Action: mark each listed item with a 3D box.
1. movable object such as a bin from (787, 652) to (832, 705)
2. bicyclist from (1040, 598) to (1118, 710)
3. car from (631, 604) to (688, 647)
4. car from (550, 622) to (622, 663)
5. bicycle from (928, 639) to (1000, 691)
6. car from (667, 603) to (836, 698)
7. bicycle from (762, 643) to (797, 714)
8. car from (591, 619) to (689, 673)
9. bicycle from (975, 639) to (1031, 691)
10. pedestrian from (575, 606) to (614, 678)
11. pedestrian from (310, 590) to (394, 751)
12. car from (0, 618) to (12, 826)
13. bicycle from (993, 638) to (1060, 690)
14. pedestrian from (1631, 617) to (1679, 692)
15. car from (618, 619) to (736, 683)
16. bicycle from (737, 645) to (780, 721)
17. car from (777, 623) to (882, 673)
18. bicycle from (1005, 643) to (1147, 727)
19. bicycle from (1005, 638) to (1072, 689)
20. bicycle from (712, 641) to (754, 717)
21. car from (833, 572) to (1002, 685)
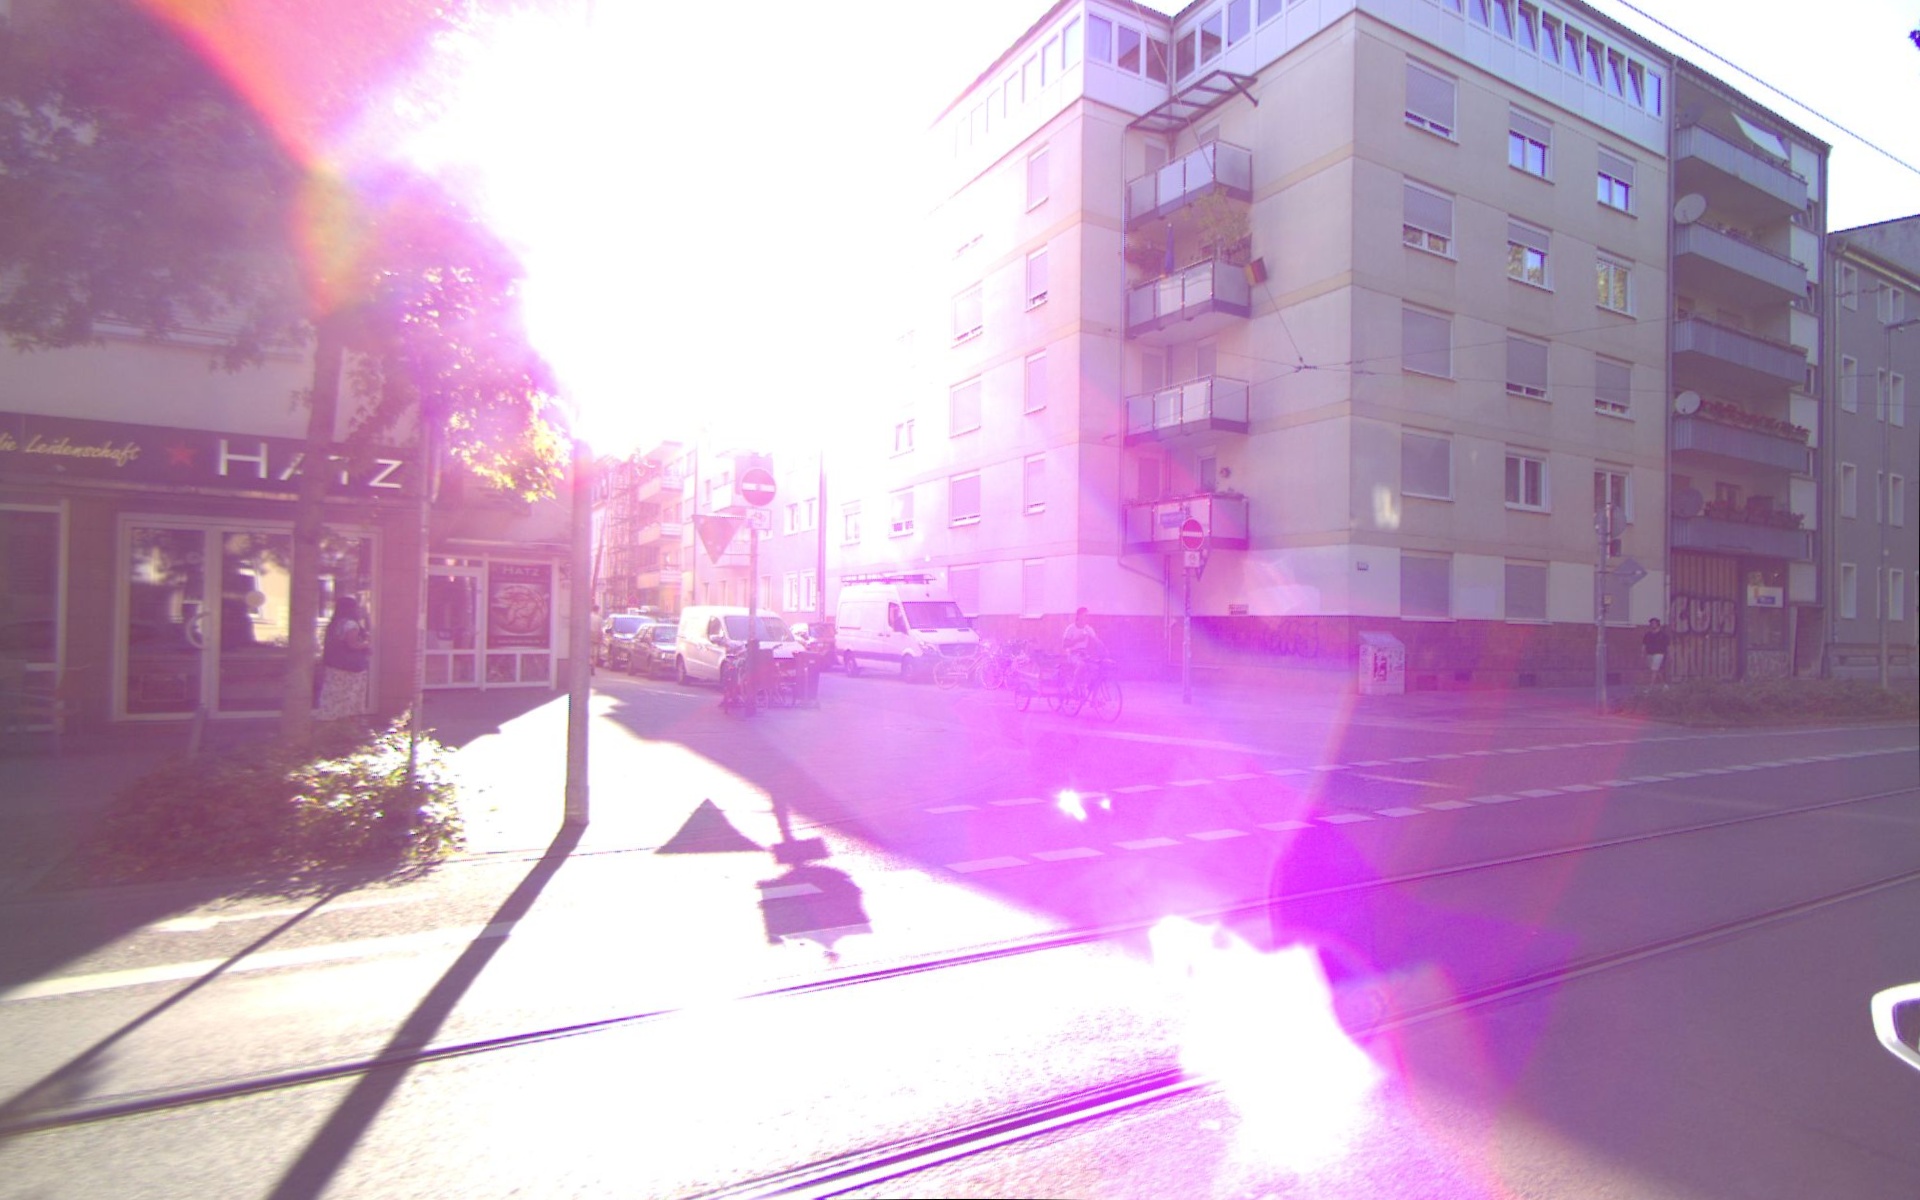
[{"bbox_3d":[-2.923,1.509,19.477,0.636,0.986,0.588,2,-2,-40],"label":"movable object such as a bin"},{"bbox_3d":[1.906,0.855,16.120,0.896,1.726,0.868,1,-1,-27],"label":"bicyclist"},{"bbox_3d":[-16.047,1.355,53.485,2.006,2.163,3.927,1,-2,-30],"label":"car"},{"bbox_3d":[-14.684,1.633,39.307,2.005,1.519,3.928,1,-2,-30],"label":"car"},{"bbox_3d":[0.099,1.513,23.323,1.571,1.171,0.585,-1,-3,16],"label":"bicycle"},{"bbox_3d":[-4.731,1.059,22.220,2.017,1.846,4.846,2,-2,-33],"label":"car"},{"bbox_3d":[-3.156,1.352,17.640,0.562,1.171,1.948,0,-3,-10],"label":"bicycle"},{"bbox_3d":[-9.778,1.369,30.541,2.006,1.519,3.927,2,-2,-30],"label":"car"},{"bbox_3d":[0.995,1.505,23.462,0.576,1.171,1.744,1,-3,-25],"label":"bicycle"},{"bbox_3d":[-9.543,1.087,26.225,0.758,1.824,0.827,2,-2,-33],"label":"pedestrian"},{"bbox_3d":[-6.743,0.767,11.169,0.740,1.713,0.660,2,-1,-31],"label":"pedestrian"},{"bbox_3d":[-8.284,0.840,5.417,4.331,1.483,1.702,2,1,-34],"label":"car"},{"bbox_3d":[1.562,1.513,23.742,0.579,1.171,1.736,2,-4,-37],"label":"bicycle"},{"bbox_3d":[17.381,1.348,25.129,0.954,1.850,0.660,2,-1,-31],"label":"pedestrian"},{"bbox_3d":[-7.429,1.280,26.143,2.006,1.519,3.926,2,-2,-31],"label":"car"},{"bbox_3d":[-3.330,1.334,16.509,0.562,1.171,1.945,1,-3,-15],"label":"bicycle"},{"bbox_3d":[-4.313,1.519,32.713,2.006,1.519,3.927,2,-2,-30],"label":"car"},{"bbox_3d":[1.809,1.313,16.275,0.909,1.172,2.786,1,-1,-26],"label":"bicycle"},{"bbox_3d":[1.859,1.503,23.937,0.579,1.171,1.736,2,-4,-37],"label":"bicycle"},{"bbox_3d":[-3.720,1.266,16.393,0.562,1.171,1.945,1,-3,-15],"label":"bicycle"},{"bbox_3d":[-1.314,0.784,27.532,2.146,2.759,5.779,1,-2,-31],"label":"car"}]
